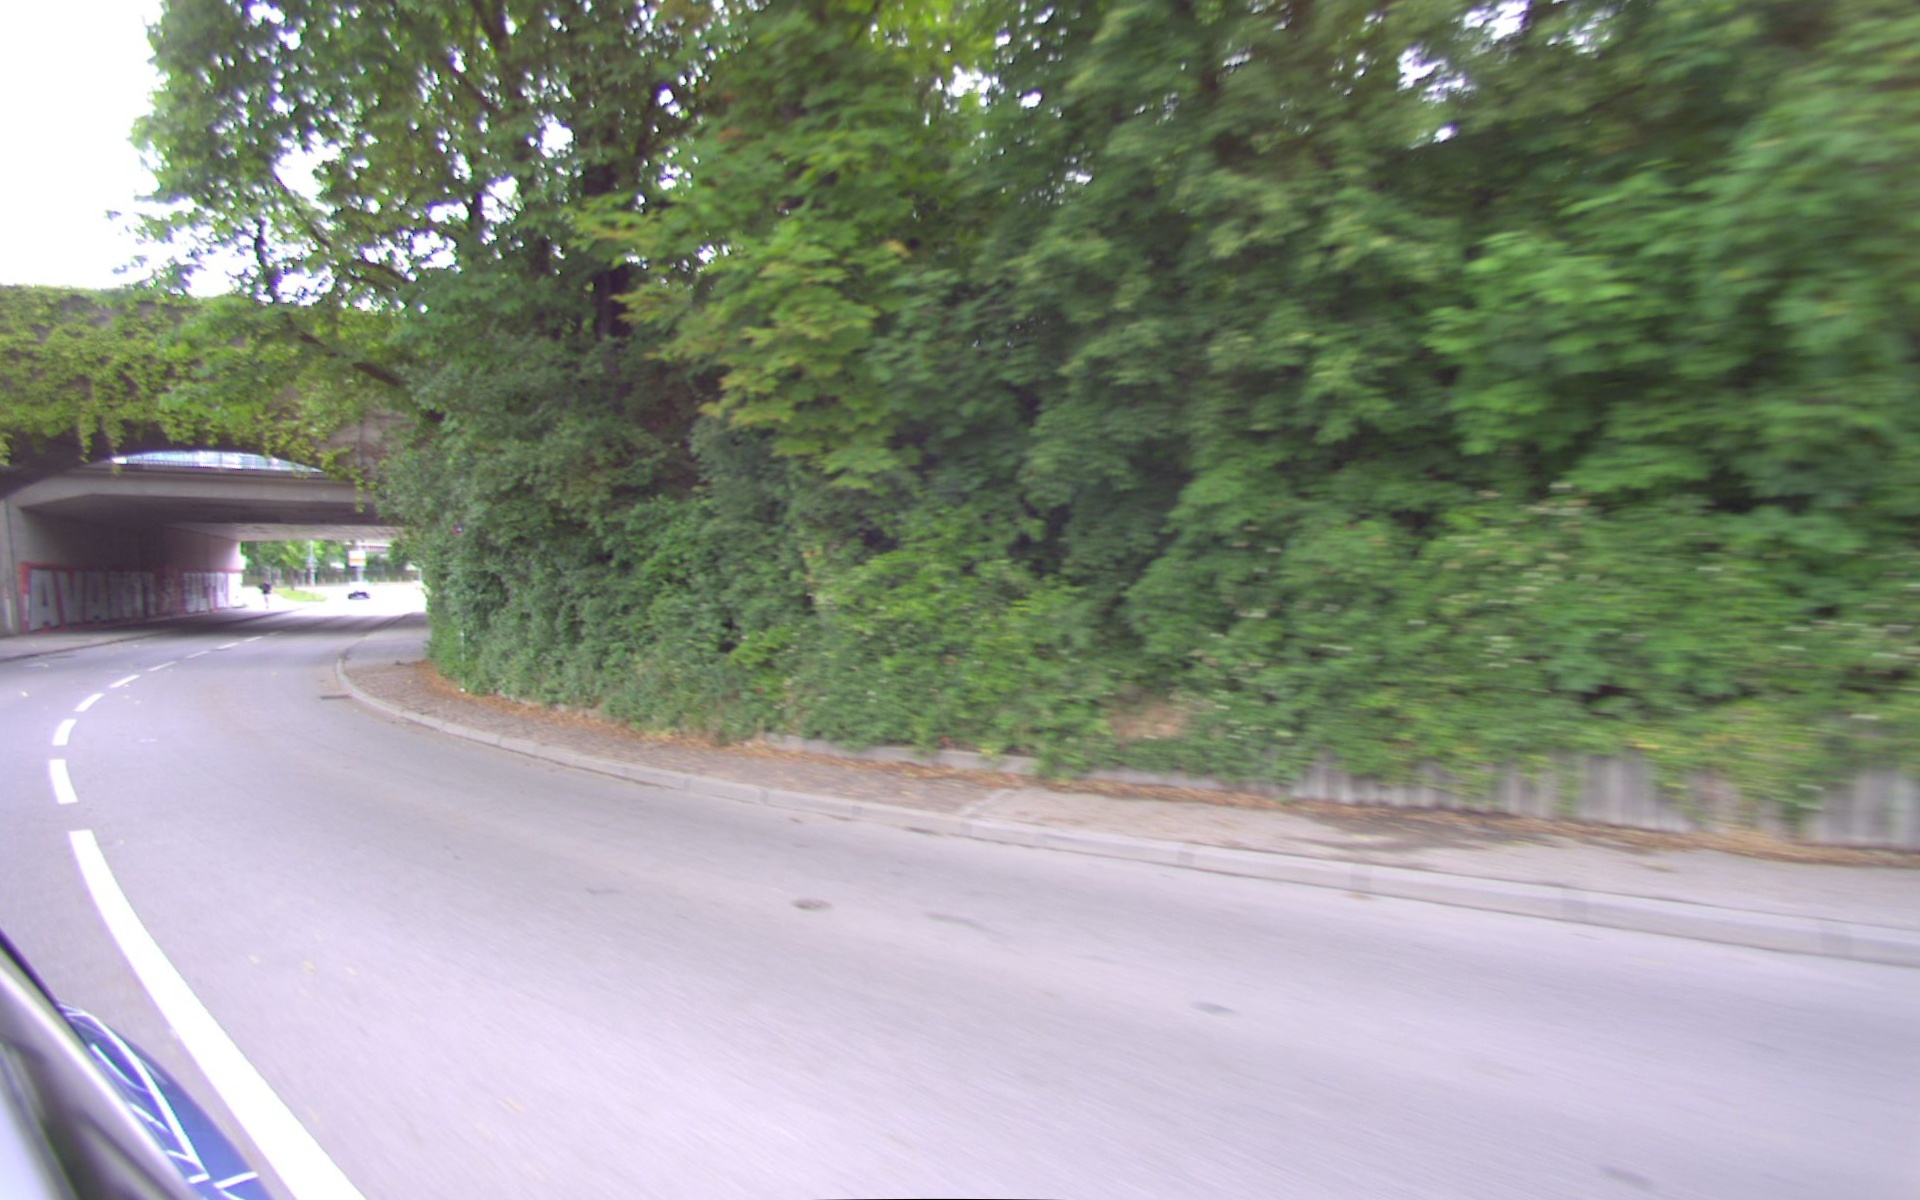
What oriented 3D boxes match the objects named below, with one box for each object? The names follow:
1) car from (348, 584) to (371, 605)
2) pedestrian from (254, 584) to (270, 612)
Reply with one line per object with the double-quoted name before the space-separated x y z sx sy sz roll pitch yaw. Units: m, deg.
"car" -54.626 -0.521 92.098 1.777 1.622 4.190 1 3 -30
"pedestrian" -46.860 -0.140 67.952 0.808 1.894 1.184 2 0 -33
